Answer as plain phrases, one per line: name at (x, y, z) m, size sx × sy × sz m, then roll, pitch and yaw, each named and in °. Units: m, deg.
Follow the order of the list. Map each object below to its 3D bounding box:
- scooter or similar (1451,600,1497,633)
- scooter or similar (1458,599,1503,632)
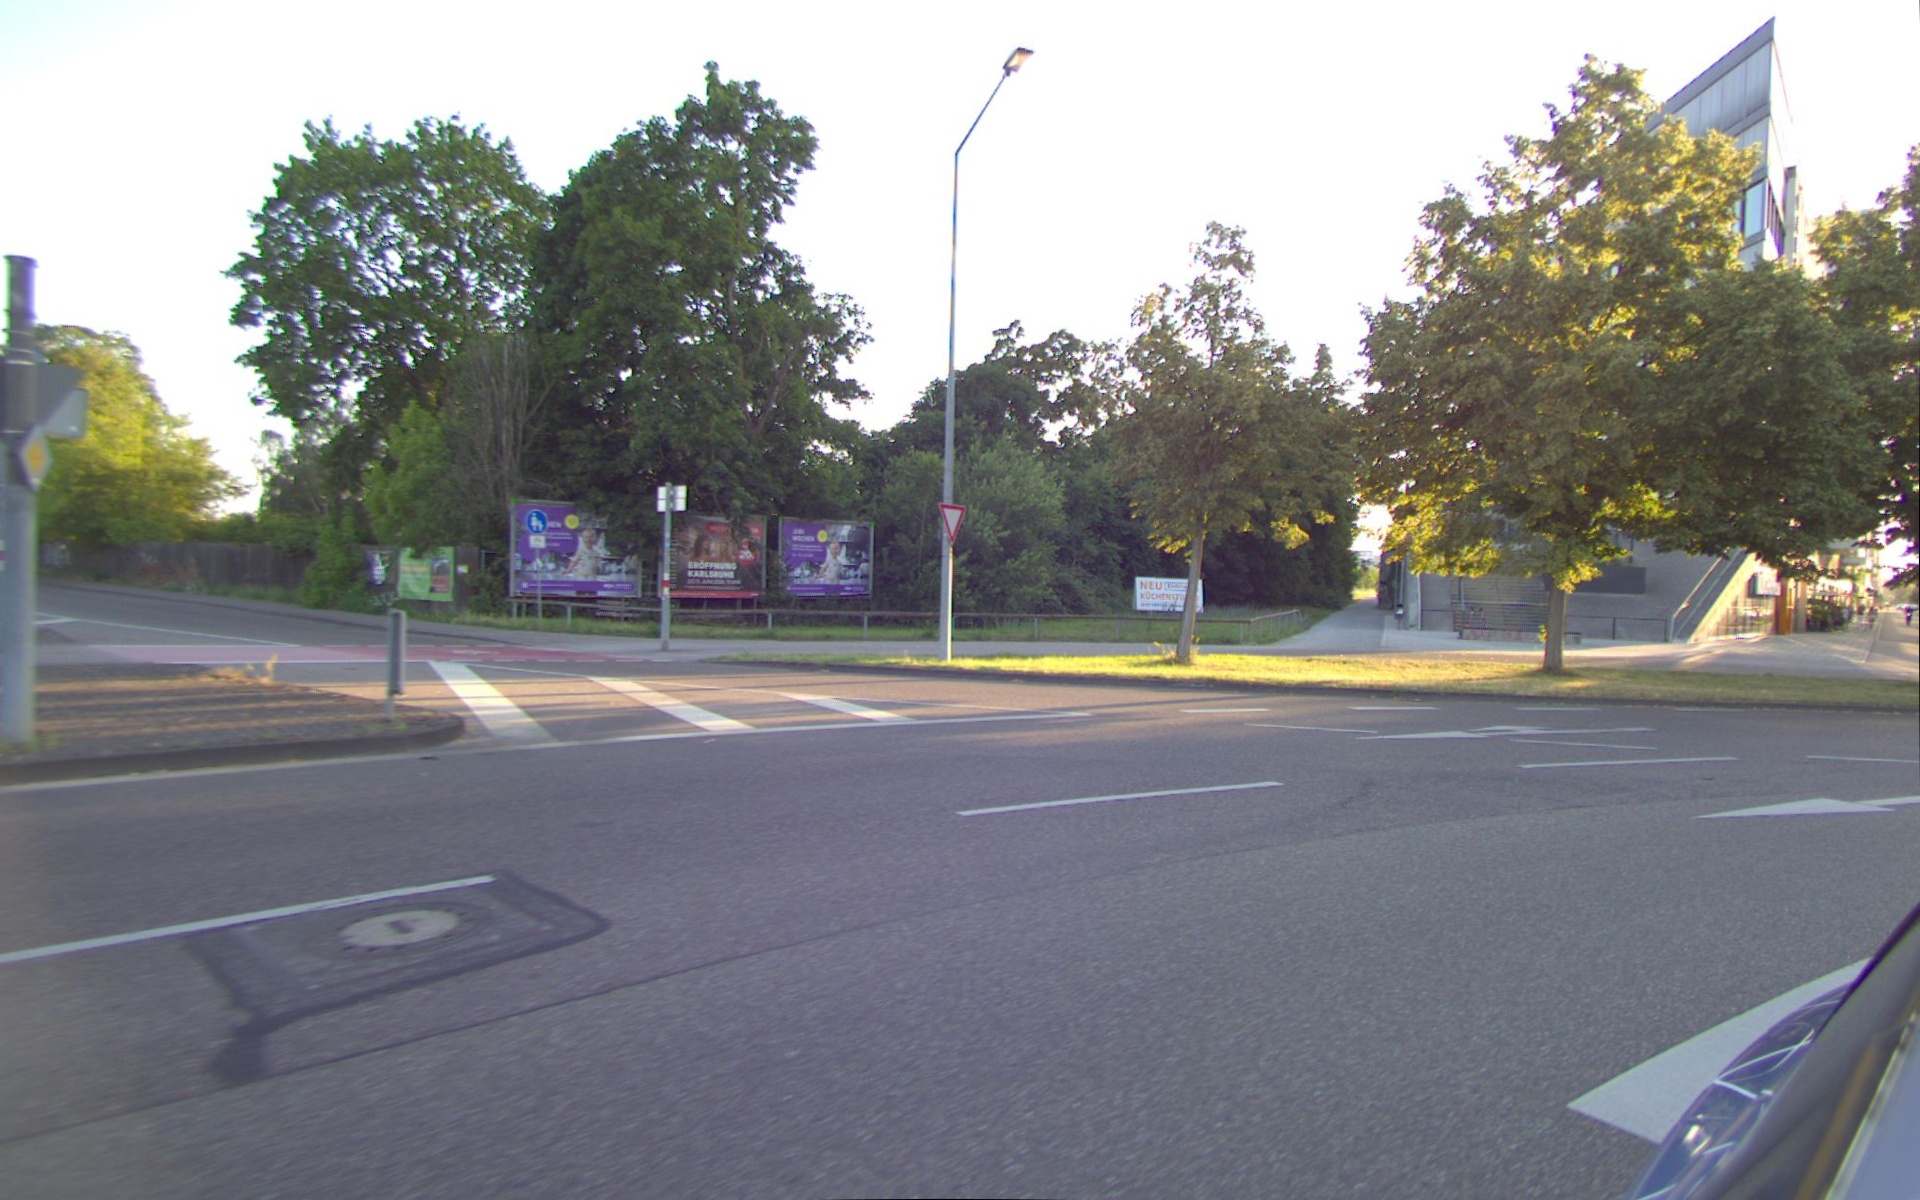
scooter or similar at (20.176, 0.628, 39.770) m, size 0.359 × 1.235 × 1.577 m, roll 1°, pitch 1°, yaw -36°
scooter or similar at (20.623, 0.590, 40.103) m, size 0.359 × 1.235 × 1.577 m, roll 1°, pitch 1°, yaw -36°
